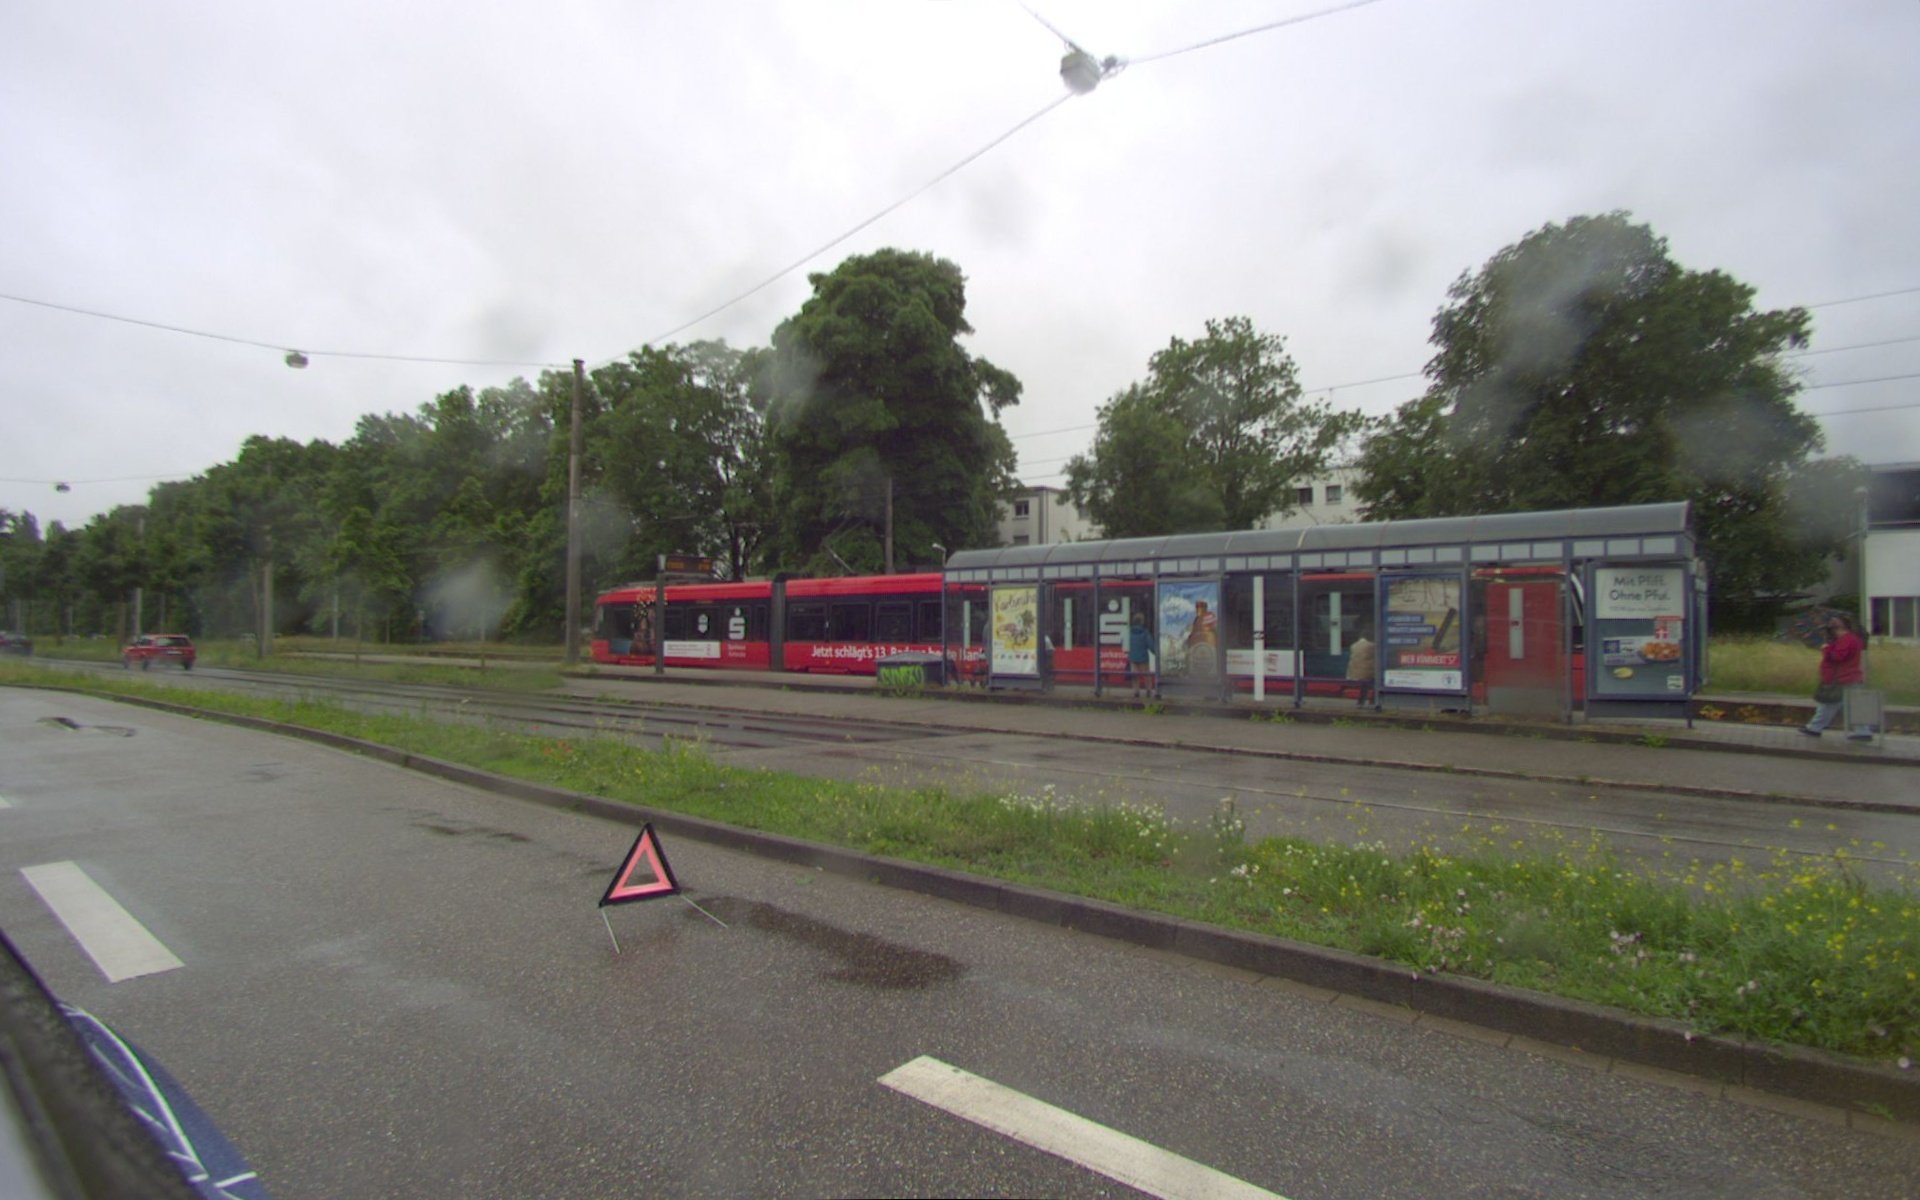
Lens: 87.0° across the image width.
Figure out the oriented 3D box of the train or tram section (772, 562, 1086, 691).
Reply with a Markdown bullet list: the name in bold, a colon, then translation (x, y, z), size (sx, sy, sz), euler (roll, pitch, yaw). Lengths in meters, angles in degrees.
- **train or tram section**: translation (-1.287, 0.862, 31.728), size (10.257, 3.427, 3.496), euler (-2, -3, 42)

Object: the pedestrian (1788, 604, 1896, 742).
- **pedestrian**: translation (11.370, 0.900, 13.069), size (0.996, 1.688, 0.914), euler (-1, 0, 41)

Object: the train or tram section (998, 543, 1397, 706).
- **train or tram section**: translation (5.645, 0.663, 25.577), size (9.274, 3.416, 3.496), euler (-2, -3, 42)

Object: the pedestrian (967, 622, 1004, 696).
- **pedestrian**: translation (0.556, 1.264, 21.975), size (0.514, 1.574, 0.603), euler (-1, 0, -35)

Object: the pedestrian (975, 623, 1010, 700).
- **pedestrian**: translation (0.680, 1.275, 21.287), size (0.437, 1.574, 0.603), euler (-1, 0, -35)

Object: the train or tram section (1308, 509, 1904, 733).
- **train or tram section**: translation (12.061, 0.466, 19.884), size (9.274, 3.416, 3.496), euler (-2, -3, 42)

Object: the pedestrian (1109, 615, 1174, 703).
- **pedestrian**: translation (3.433, 1.094, 19.165), size (0.929, 1.609, 0.795), euler (-2, -3, 44)

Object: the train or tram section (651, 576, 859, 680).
- **train or tram section**: translation (-7.690, 1.048, 37.412), size (7.899, 3.438, 3.496), euler (-2, -3, 42)

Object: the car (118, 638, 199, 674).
- **car**: translation (-32.723, 2.276, 41.284), size (4.247, 1.371, 1.663), euler (-2, -5, 39)

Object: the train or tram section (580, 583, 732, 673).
- **train or tram section**: translation (-12.567, 1.182, 41.752), size (5.767, 3.444, 3.496), euler (-2, -3, 41)

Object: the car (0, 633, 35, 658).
- **car**: translation (-59.560, 2.846, 63.637), size (3.819, 1.448, 1.718), euler (-1, -1, 42)

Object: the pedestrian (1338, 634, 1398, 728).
- **pedestrian**: translation (6.560, 1.287, 16.278), size (0.699, 1.464, 0.618), euler (-2, -3, 43)
